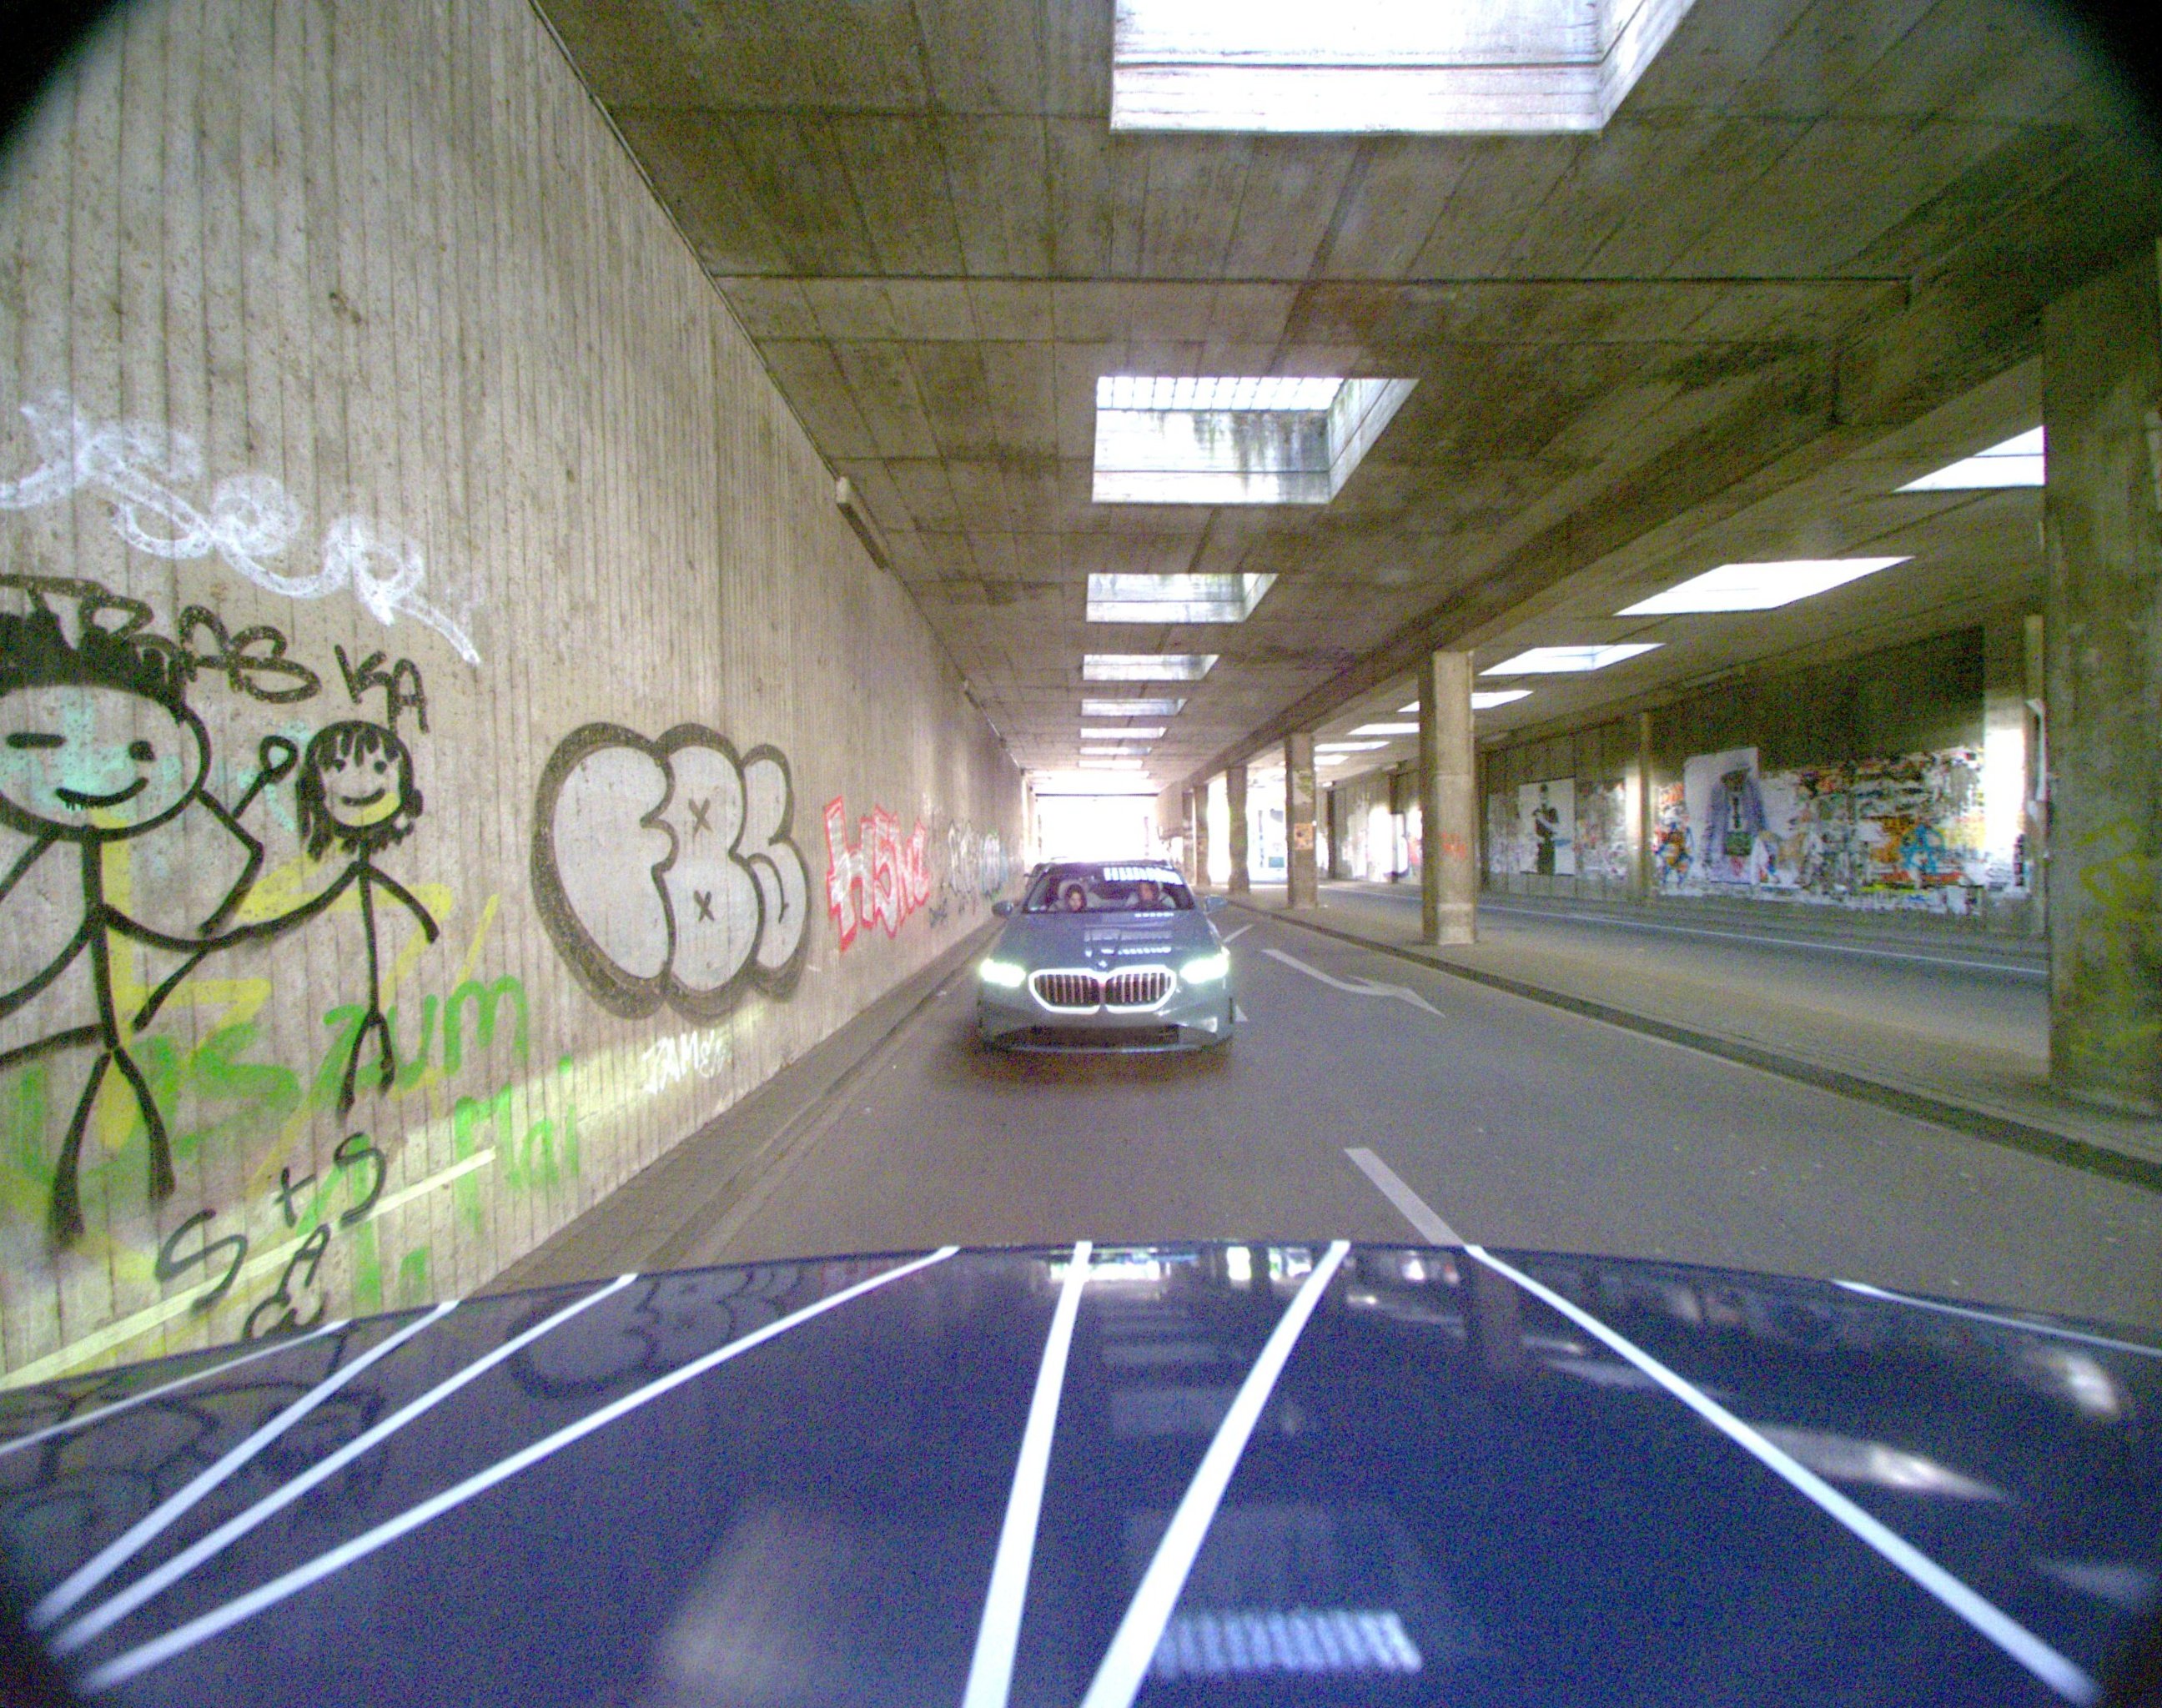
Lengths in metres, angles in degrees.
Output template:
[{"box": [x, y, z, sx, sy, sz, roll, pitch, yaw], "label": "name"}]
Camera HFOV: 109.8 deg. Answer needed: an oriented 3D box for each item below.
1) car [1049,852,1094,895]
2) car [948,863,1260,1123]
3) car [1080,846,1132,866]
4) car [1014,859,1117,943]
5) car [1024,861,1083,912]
[{"box": [-0.313, 0.719, 29.996, 1.616, 1.546, 4.013, -1, 0, 1], "label": "car"}, {"box": [0.181, 0.918, 7.345, 1.957, 1.546, 5.040, -1, 0, 1], "label": "car"}, {"box": [2.365, 0.162, 72.782, 4.814, 1.823, 1.999, -1, 0, -4], "label": "car"}, {"box": [-0.267, 0.913, 16.677, 1.957, 1.546, 4.247, -1, 0, 1], "label": "car"}, {"box": [-0.768, 0.945, 23.821, 1.616, 1.367, 4.199, -1, 0, 1], "label": "car"}]
